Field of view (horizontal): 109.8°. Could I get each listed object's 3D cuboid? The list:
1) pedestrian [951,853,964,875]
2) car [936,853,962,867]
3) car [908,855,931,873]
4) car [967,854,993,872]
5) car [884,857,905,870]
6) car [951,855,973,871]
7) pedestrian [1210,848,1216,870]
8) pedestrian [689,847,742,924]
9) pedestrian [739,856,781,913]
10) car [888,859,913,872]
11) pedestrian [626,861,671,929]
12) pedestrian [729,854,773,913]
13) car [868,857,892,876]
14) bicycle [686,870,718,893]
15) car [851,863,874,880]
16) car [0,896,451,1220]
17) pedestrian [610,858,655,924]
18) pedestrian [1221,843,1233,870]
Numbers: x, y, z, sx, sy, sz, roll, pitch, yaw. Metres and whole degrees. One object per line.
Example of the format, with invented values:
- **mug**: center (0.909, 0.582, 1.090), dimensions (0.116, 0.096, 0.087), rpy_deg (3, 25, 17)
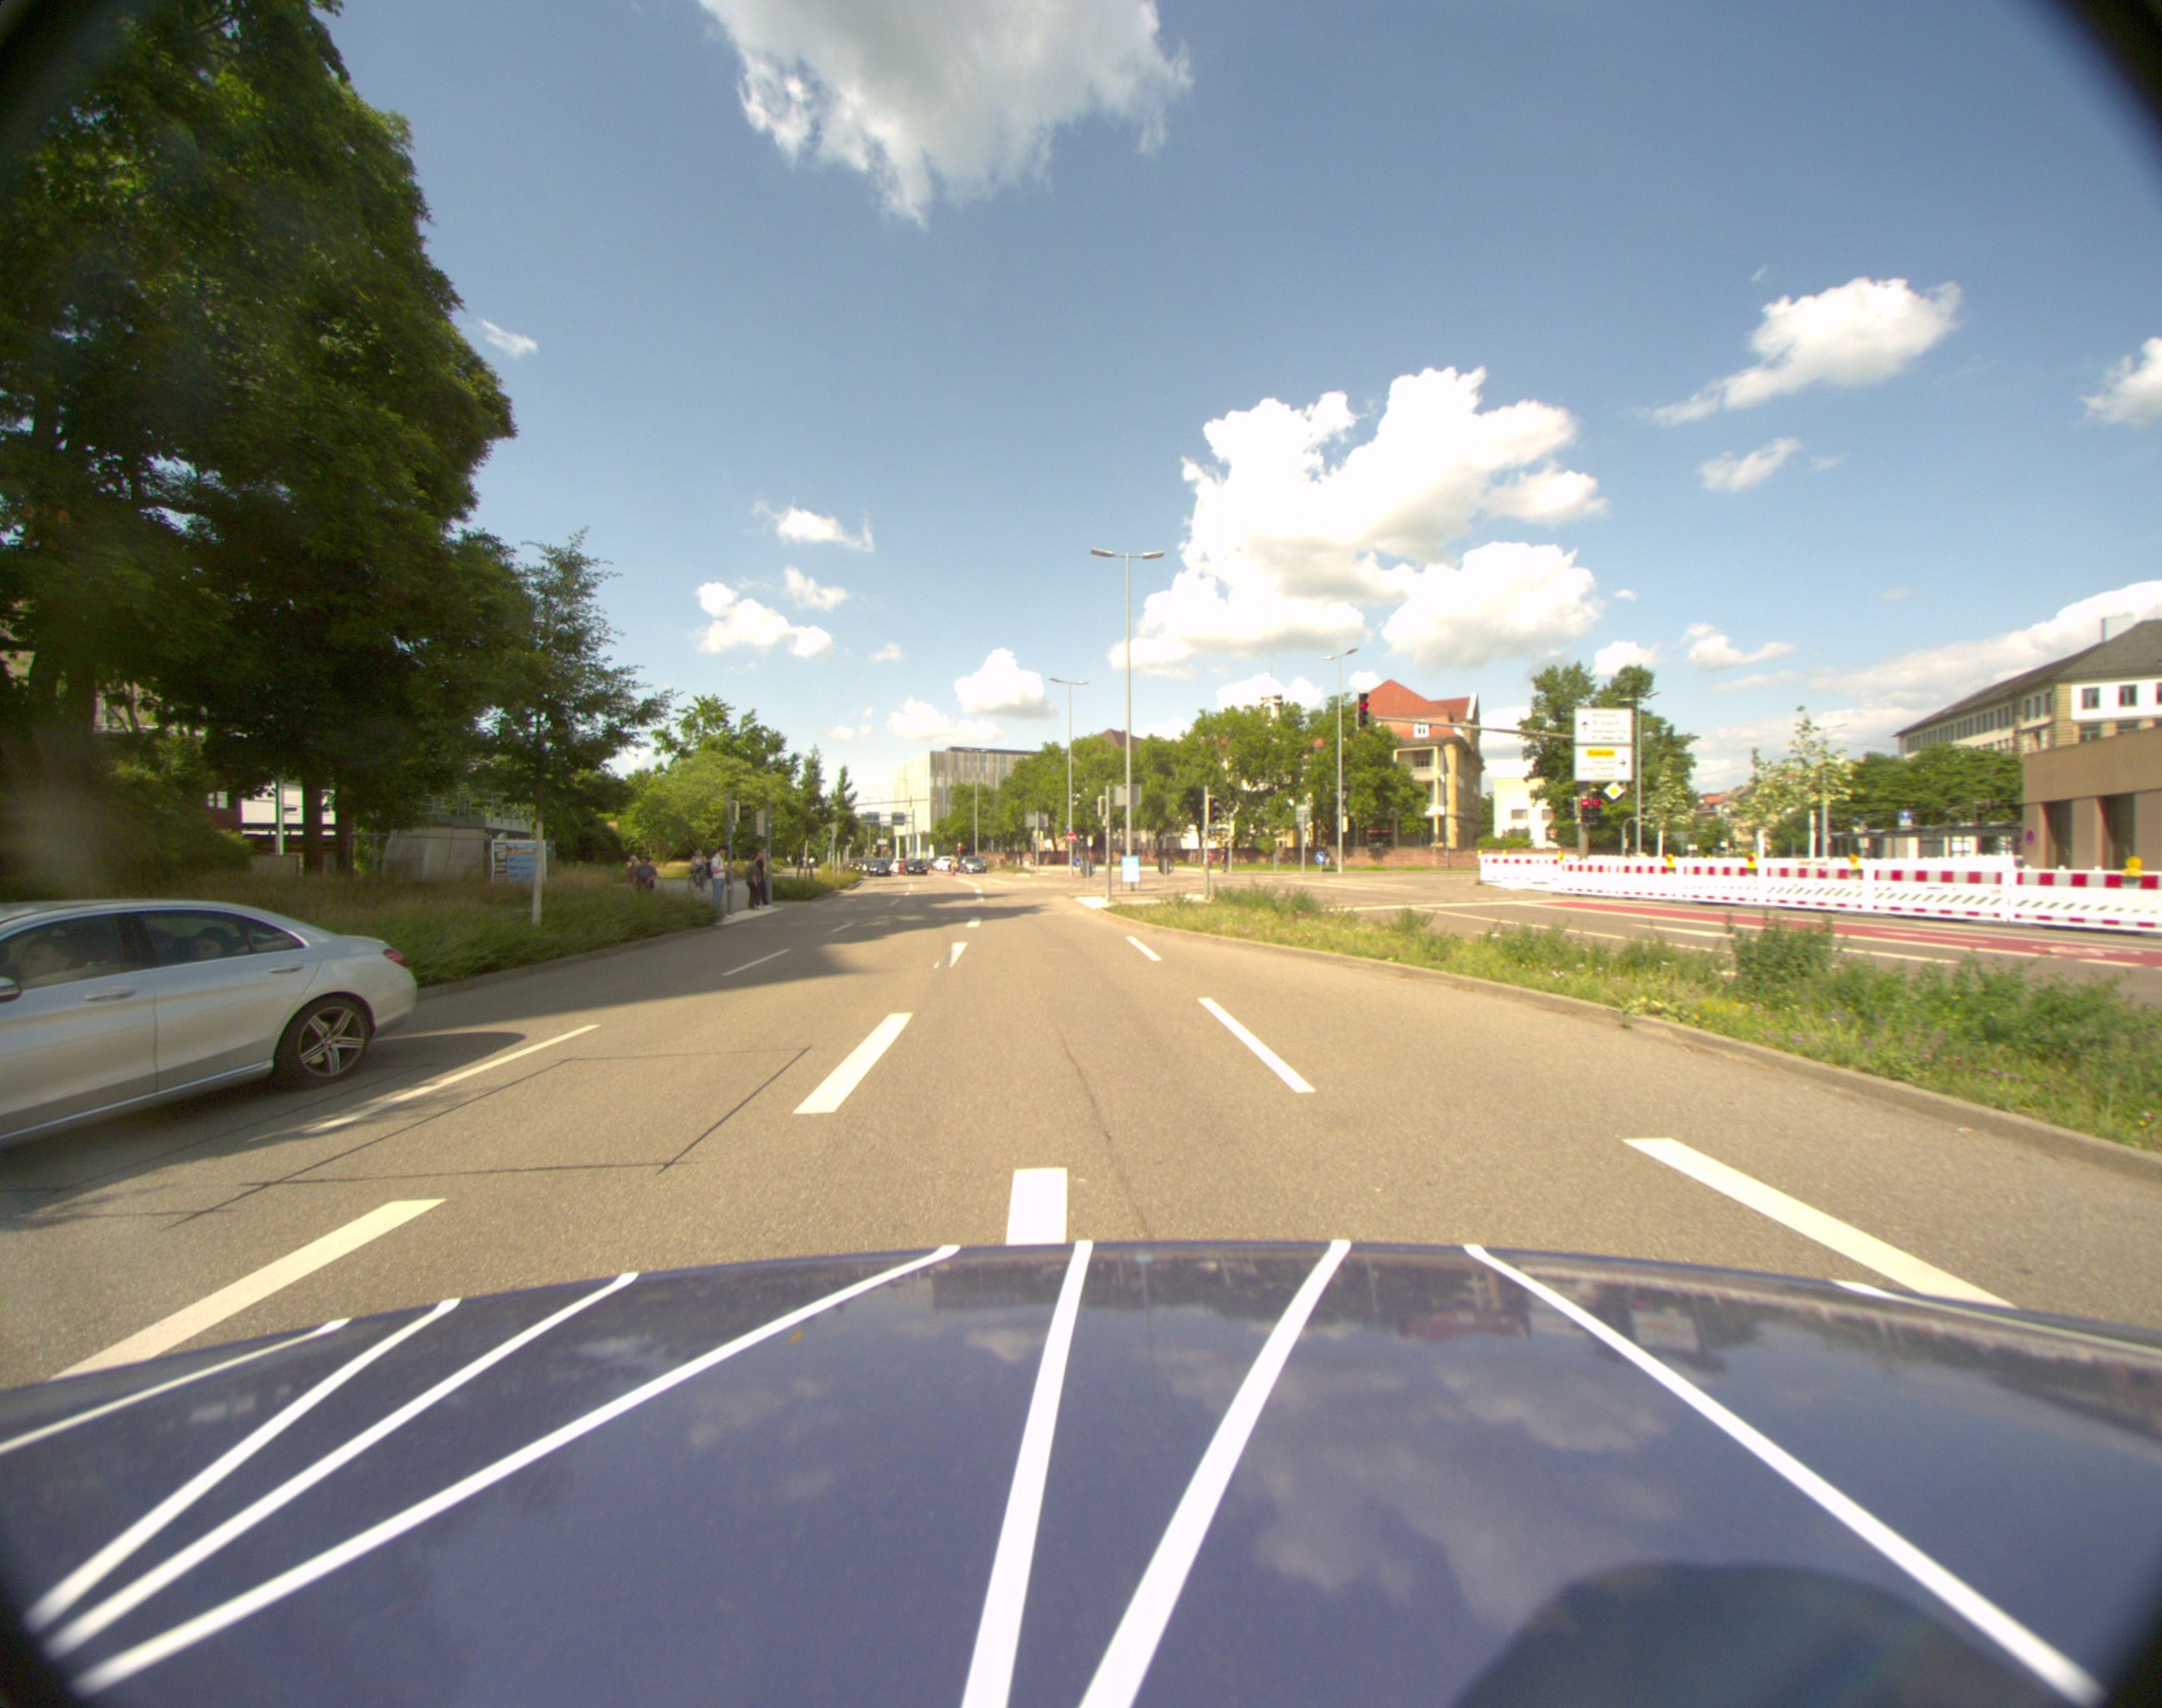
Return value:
- **pedestrian**: center (-9.798, 0.792, 60.180), dimensions (0.739, 1.704, 0.874), rpy_deg (-3, 1, -22)
- **car**: center (-13.729, 0.631, 78.858), dimensions (1.781, 1.346, 3.992), rpy_deg (-2, 1, -23)
- **car**: center (-13.660, 0.813, 64.164), dimensions (1.827, 1.454, 3.995), rpy_deg (-1, 0, -13)
- **car**: center (-8.678, 0.732, 65.180), dimensions (2.000, 1.368, 4.265), rpy_deg (-2, 1, -10)
- **car**: center (-18.406, 0.923, 75.104), dimensions (1.911, 1.127, 4.096), rpy_deg (-1, 2, -13)
- **car**: center (-11.264, 0.838, 71.957), dimensions (1.734, 1.327, 3.784), rpy_deg (-2, 1, -13)
- **pedestrian**: center (10.342, 0.402, 59.440), dimensions (0.368, 1.722, 0.451), rpy_deg (-2, 1, 21)
- **pedestrian**: center (-9.881, 0.835, 20.570), dimensions (0.965, 2.002, 0.768), rpy_deg (-2, 1, -2)
- **pedestrian**: center (-10.087, 0.946, 23.931), dimensions (0.928, 1.725, 0.768), rpy_deg (-2, 1, -2)
- **car**: center (-16.338, 1.050, 68.758), dimensions (1.600, 1.127, 3.622), rpy_deg (-1, 0, -23)
- **pedestrian**: center (-11.496, 1.077, 20.219), dimensions (0.768, 1.725, 0.718), rpy_deg (-2, 1, -8)
- **pedestrian**: center (-10.040, 0.890, 23.154), dimensions (0.928, 1.725, 0.768), rpy_deg (-2, 1, -2)
- **car**: center (-16.475, 0.976, 62.430), dimensions (1.828, 1.454, 3.995), rpy_deg (-1, 0, -14)
- **bicycle**: center (-15.667, 1.133, 31.434), dimensions (0.649, 0.876, 1.821), rpy_deg (-1, 0, -8)
- **car**: center (-19.745, 1.560, 68.791), dimensions (1.827, 1.454, 3.995), rpy_deg (-1, 0, -13)
- **car**: center (-6.395, 1.122, 4.196), dimensions (1.936, 1.447, 4.758), rpy_deg (-1, 0, -2)
- **pedestrian**: center (-12.208, 0.988, 20.715), dimensions (0.768, 1.725, 0.718), rpy_deg (-2, 1, -8)
- **pedestrian**: center (11.136, 0.200, 57.872), dimensions (0.582, 1.982, 0.621), rpy_deg (-3, 1, -27)
